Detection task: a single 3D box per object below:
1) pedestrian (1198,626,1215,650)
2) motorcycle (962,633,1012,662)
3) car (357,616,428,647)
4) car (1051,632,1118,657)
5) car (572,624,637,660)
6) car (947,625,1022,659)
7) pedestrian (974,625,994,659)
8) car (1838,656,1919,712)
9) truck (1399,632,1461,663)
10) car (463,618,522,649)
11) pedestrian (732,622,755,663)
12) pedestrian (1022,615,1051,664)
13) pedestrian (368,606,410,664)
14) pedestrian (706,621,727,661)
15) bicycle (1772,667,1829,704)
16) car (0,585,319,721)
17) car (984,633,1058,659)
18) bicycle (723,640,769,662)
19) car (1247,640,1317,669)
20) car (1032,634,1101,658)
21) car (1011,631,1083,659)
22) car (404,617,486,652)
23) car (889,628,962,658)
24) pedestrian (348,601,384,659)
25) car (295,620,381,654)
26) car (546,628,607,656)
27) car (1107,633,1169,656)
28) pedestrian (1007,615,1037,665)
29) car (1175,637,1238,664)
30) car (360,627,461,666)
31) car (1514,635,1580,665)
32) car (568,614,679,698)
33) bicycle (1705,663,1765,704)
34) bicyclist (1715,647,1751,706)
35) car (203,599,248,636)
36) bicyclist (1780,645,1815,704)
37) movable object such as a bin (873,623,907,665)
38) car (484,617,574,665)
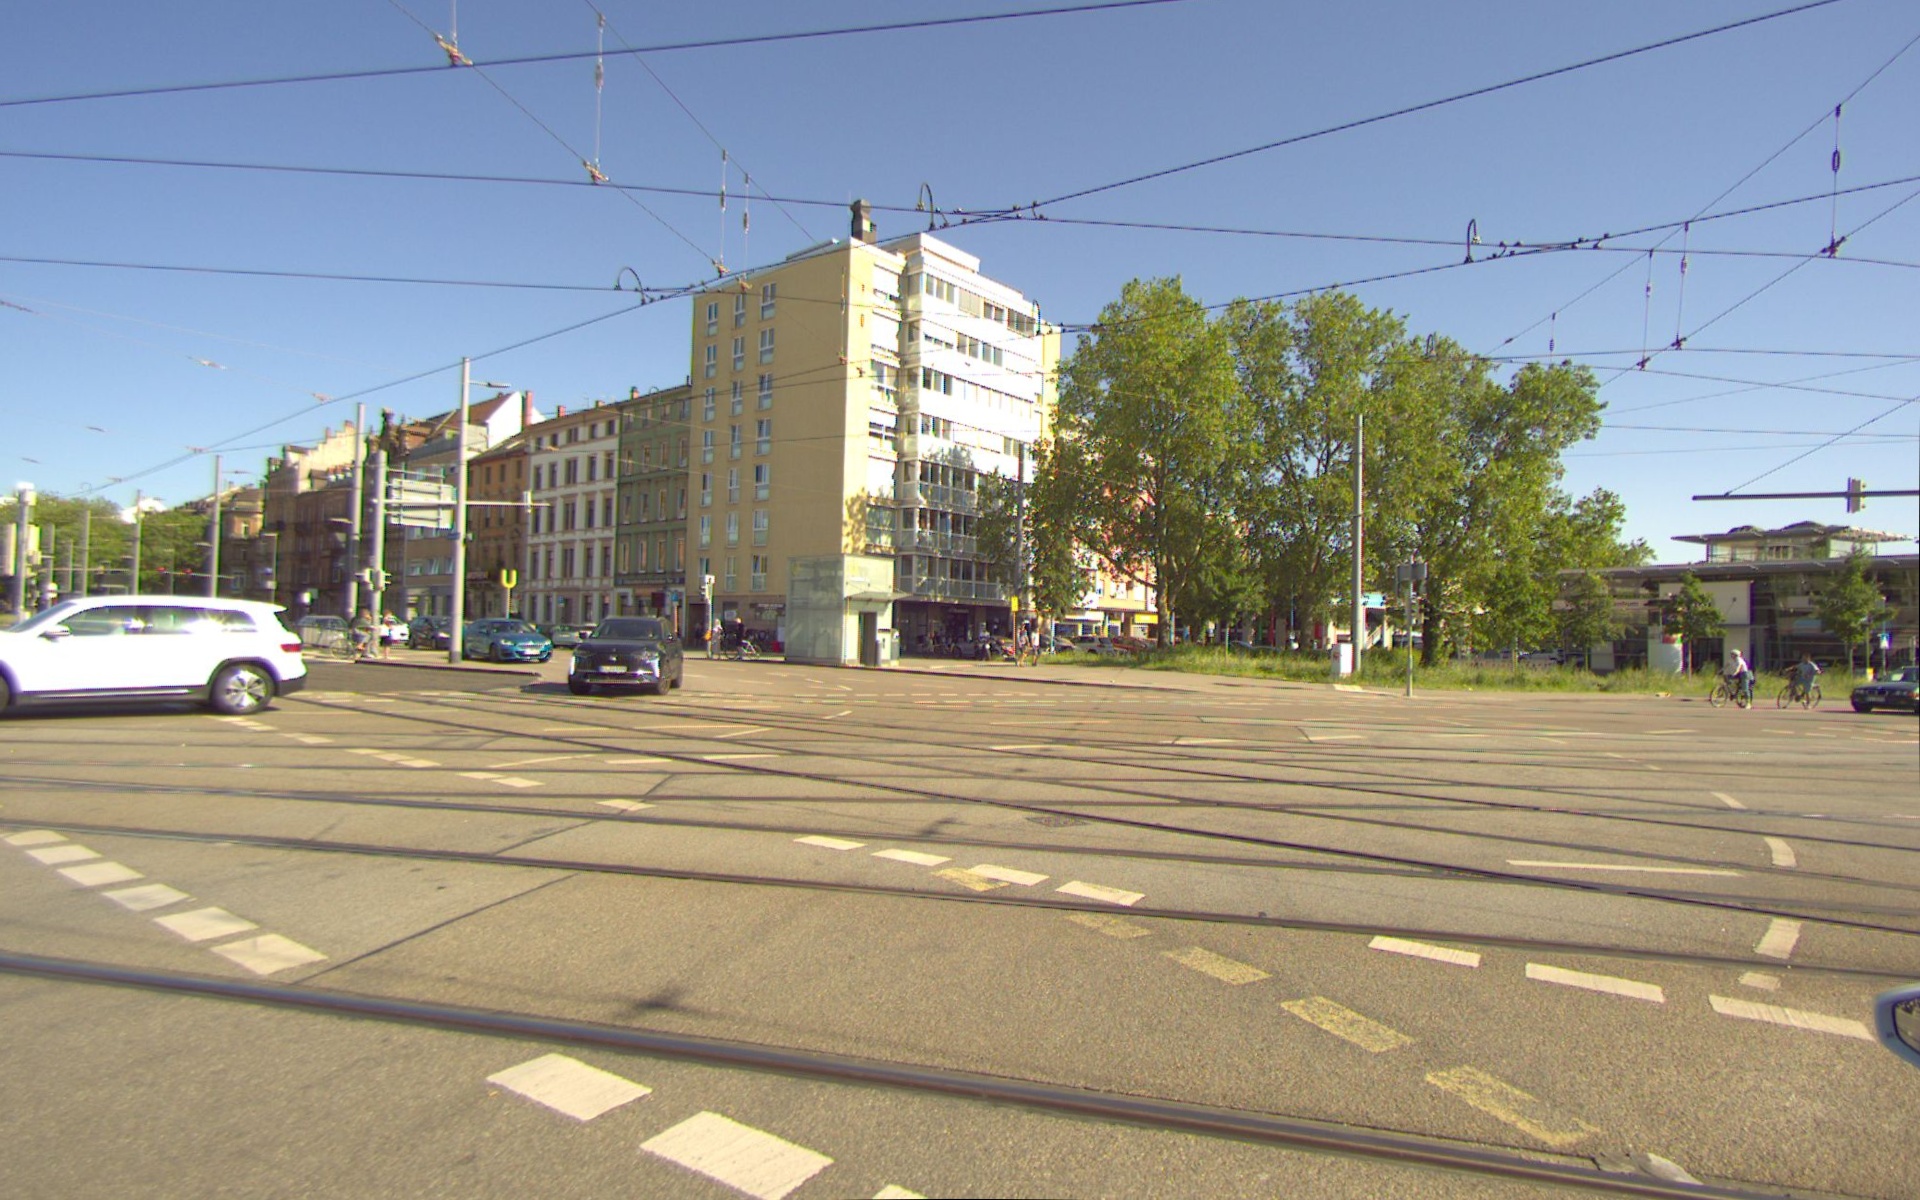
[{"bbox_3d":[22.143,3.416,90.355,1.089,2.040,1.175,2,0,32],"label":"pedestrian"},{"bbox_3d":[1.291,2.267,48.502,1.272,1.192,2.953,3,0,-23],"label":"motorcycle"},{"bbox_3d":[-28.121,1.561,49.721,4.536,1.346,1.787,1,-2,44],"label":"car"},{"bbox_3d":[8.158,2.933,65.995,3.935,1.518,1.993,0,-2,36],"label":"car"},{"bbox_3d":[-19.307,2.255,54.711,1.960,1.775,4.001,3,0,2],"label":"car"},{"bbox_3d":[1.424,2.441,58.732,3.935,1.830,1.993,0,-2,36],"label":"car"},{"bbox_3d":[1.202,2.111,50.544,0.745,1.642,0.653,2,0,22],"label":"pedestrian"},{"bbox_3d":[27.549,2.413,28.856,3.906,1.498,1.650,2,-3,-16],"label":"car"},{"bbox_3d":[38.866,3.907,83.108,1.977,2.250,4.182,3,0,-30],"label":"truck"},{"bbox_3d":[-28.812,2.075,61.837,3.945,1.687,1.988,2,0,44],"label":"car"},{"bbox_3d":[-9.414,1.862,43.682,0.710,1.728,0.608,3,0,-38],"label":"pedestrian"},{"bbox_3d":[3.294,1.715,43.278,0.863,2.057,0.846,3,0,-43],"label":"pedestrian"},{"bbox_3d":[-18.744,1.131,32.991,0.980,1.823,0.988,3,0,-22],"label":"pedestrian"},{"bbox_3d":[-10.763,1.817,44.366,0.610,1.728,0.709,3,0,-38],"label":"pedestrian"},{"bbox_3d":[25.693,2.617,30.701,1.628,1.088,0.538,1,-2,-17],"label":"bicycle"},{"bbox_3d":[-11.759,0.696,13.805,1.972,1.662,4.547,0,-2,38],"label":"car"},{"bbox_3d":[3.621,2.739,59.921,3.935,1.407,1.993,0,-2,36],"label":"car"},{"bbox_3d":[-9.484,2.278,44.526,1.933,0.934,0.612,3,0,-40],"label":"bicycle"},{"bbox_3d":[20.594,3.501,64.320,1.983,1.651,3.816,4,-3,-38],"label":"car"},{"bbox_3d":[6.775,2.917,64.028,3.935,1.407,1.993,0,-2,36],"label":"car"},{"bbox_3d":[5.343,2.746,61.928,3.935,1.585,1.993,0,-2,36],"label":"car"},{"bbox_3d":[-22.684,1.493,44.159,4.536,1.346,1.787,1,-2,44],"label":"car"},{"bbox_3d":[-1.943,2.371,55.787,3.944,1.518,1.733,0,-2,43],"label":"car"},{"bbox_3d":[-20.170,1.014,34.129,0.982,1.928,0.986,3,0,-30],"label":"pedestrian"},{"bbox_3d":[-27.765,1.653,44.804,4.527,1.346,1.790,1,-2,38],"label":"car"},{"bbox_3d":[-21.857,2.357,57.460,1.781,1.378,4.001,3,0,2],"label":"car"},{"bbox_3d":[12.647,3.150,71.425,3.935,1.518,1.993,0,-2,36],"label":"car"},{"bbox_3d":[2.629,1.703,42.692,0.863,2.057,0.846,3,0,-43],"label":"pedestrian"},{"bbox_3d":[16.979,3.462,69.273,1.983,1.651,3.816,4,-3,-38],"label":"car"},{"bbox_3d":[-21.624,1.791,39.497,3.934,1.378,1.908,0,-1,35],"label":"car"},{"bbox_3d":[46.181,3.921,79.041,1.981,2.040,3.959,3,0,-36],"label":"car"},{"bbox_3d":[-7.269,1.155,21.958,2.012,1.597,4.613,3,-2,-17],"label":"car"},{"bbox_3d":[23.769,2.550,30.812,1.725,1.199,0.538,1,-2,-17],"label":"bicycle"},{"bbox_3d":[23.699,2.325,30.801,0.667,1.766,0.574,1,0,-16],"label":"bicyclist"},{"bbox_3d":[-66.458,1.590,90.896,4.846,3.148,1.992,2,0,39],"label":"car"},{"bbox_3d":[25.566,2.259,30.667,0.591,1.766,0.574,0,1,-16],"label":"bicyclist"},{"bbox_3d":[-2.880,1.818,41.552,0.976,1.656,0.933,2,0,40],"label":"movable object such as a bin"},{"bbox_3d":[-14.703,1.387,34.529,1.880,1.477,4.590,2,-2,-12],"label":"car"}]
